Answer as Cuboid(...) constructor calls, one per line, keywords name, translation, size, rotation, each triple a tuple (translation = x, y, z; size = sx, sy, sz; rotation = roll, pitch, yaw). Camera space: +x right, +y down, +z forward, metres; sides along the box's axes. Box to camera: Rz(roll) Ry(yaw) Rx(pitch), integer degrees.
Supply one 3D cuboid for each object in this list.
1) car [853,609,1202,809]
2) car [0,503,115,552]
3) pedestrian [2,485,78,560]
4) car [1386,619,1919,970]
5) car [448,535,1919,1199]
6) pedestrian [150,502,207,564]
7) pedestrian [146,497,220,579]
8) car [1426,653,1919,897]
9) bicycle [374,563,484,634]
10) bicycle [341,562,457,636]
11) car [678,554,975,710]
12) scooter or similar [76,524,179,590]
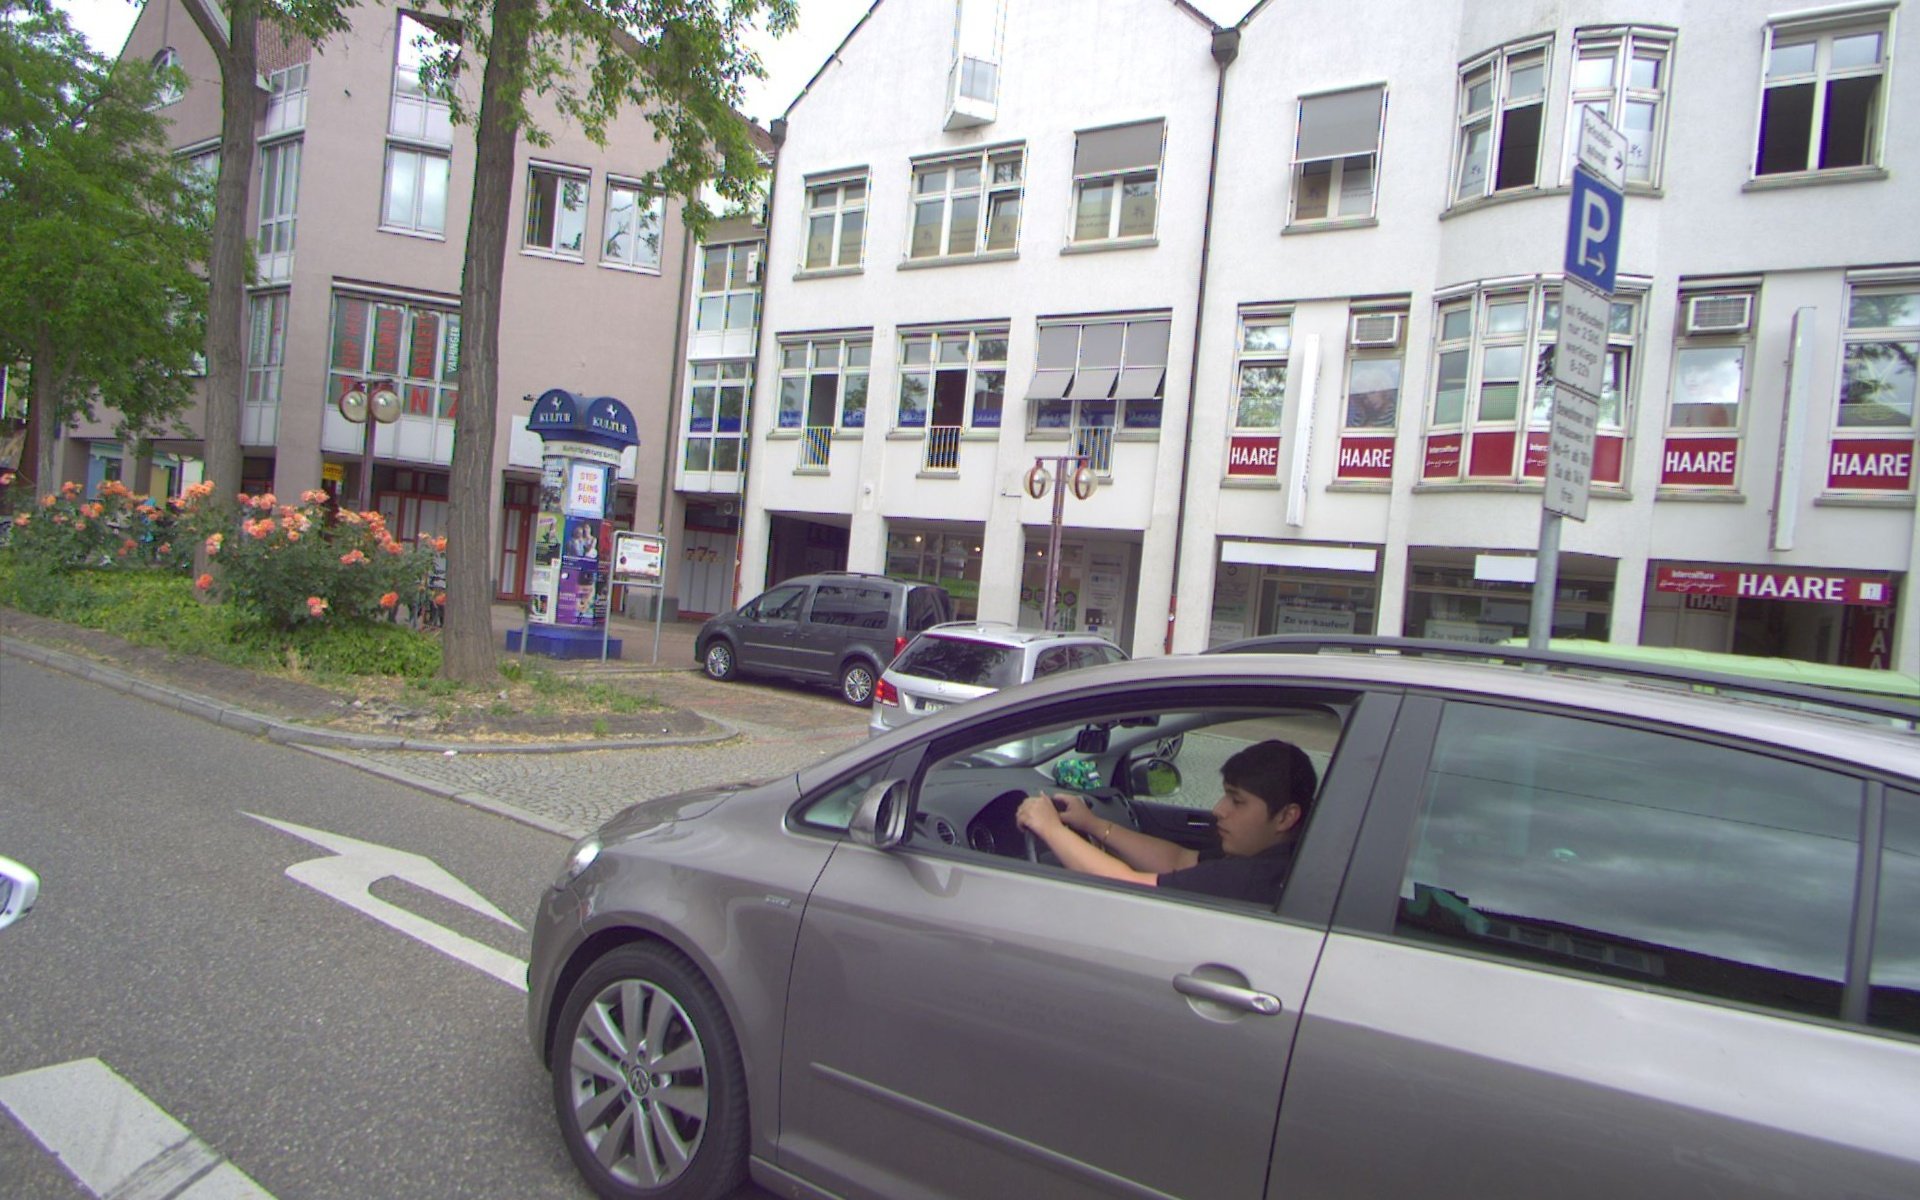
Cuboid(name="car", translation=(0.989, 1.007, 10.664), size=(1.710, 1.472, 4.643), rotation=(7, 1, 30))
Cuboid(name="car", translation=(-36.830, -2.952, 40.237), size=(1.769, 1.421, 4.182), rotation=(7, -1, 28))
Cuboid(name="pedestrian", translation=(-23.765, -1.990, 25.996), size=(1.091, 1.737, 1.057), rotation=(7, 1, 30))
Cuboid(name="car", translation=(5.885, 1.337, 7.519), size=(4.672, 1.900, 1.996), rotation=(6, 1, 28))
Cuboid(name="car", translation=(0.841, 0.871, 2.519), size=(3.932, 1.548, 1.801), rotation=(7, -2, 30))
Cuboid(name="pedestrian", translation=(-22.369, -1.907, 28.788), size=(1.040, 1.604, 0.831), rotation=(7, 1, 28))
Cuboid(name="pedestrian", translation=(-17.054, -1.350, 22.081), size=(1.074, 1.647, 0.809), rotation=(7, 1, 28))
Cuboid(name="car", translation=(7.193, 1.567, 9.733), size=(4.671, 1.567, 1.996), rotation=(6, 1, 28))
Cuboid(name="bicycle", translation=(-9.116, -0.021, 17.327), size=(1.546, 1.062, 0.405), rotation=(6, 1, -18))
Cuboid(name="bicycle", translation=(-9.264, -0.014, 16.655), size=(1.546, 1.062, 0.405), rotation=(6, 1, -18))
Cuboid(name="car", translation=(-2.091, 0.430, 15.483), size=(4.187, 1.827, 1.736), rotation=(6, 1, 29))
Cuboid(name="scooter or similar", translation=(-16.277, -0.832, 19.668), size=(1.852, 1.101, 0.471), rotation=(6, 1, 13))
